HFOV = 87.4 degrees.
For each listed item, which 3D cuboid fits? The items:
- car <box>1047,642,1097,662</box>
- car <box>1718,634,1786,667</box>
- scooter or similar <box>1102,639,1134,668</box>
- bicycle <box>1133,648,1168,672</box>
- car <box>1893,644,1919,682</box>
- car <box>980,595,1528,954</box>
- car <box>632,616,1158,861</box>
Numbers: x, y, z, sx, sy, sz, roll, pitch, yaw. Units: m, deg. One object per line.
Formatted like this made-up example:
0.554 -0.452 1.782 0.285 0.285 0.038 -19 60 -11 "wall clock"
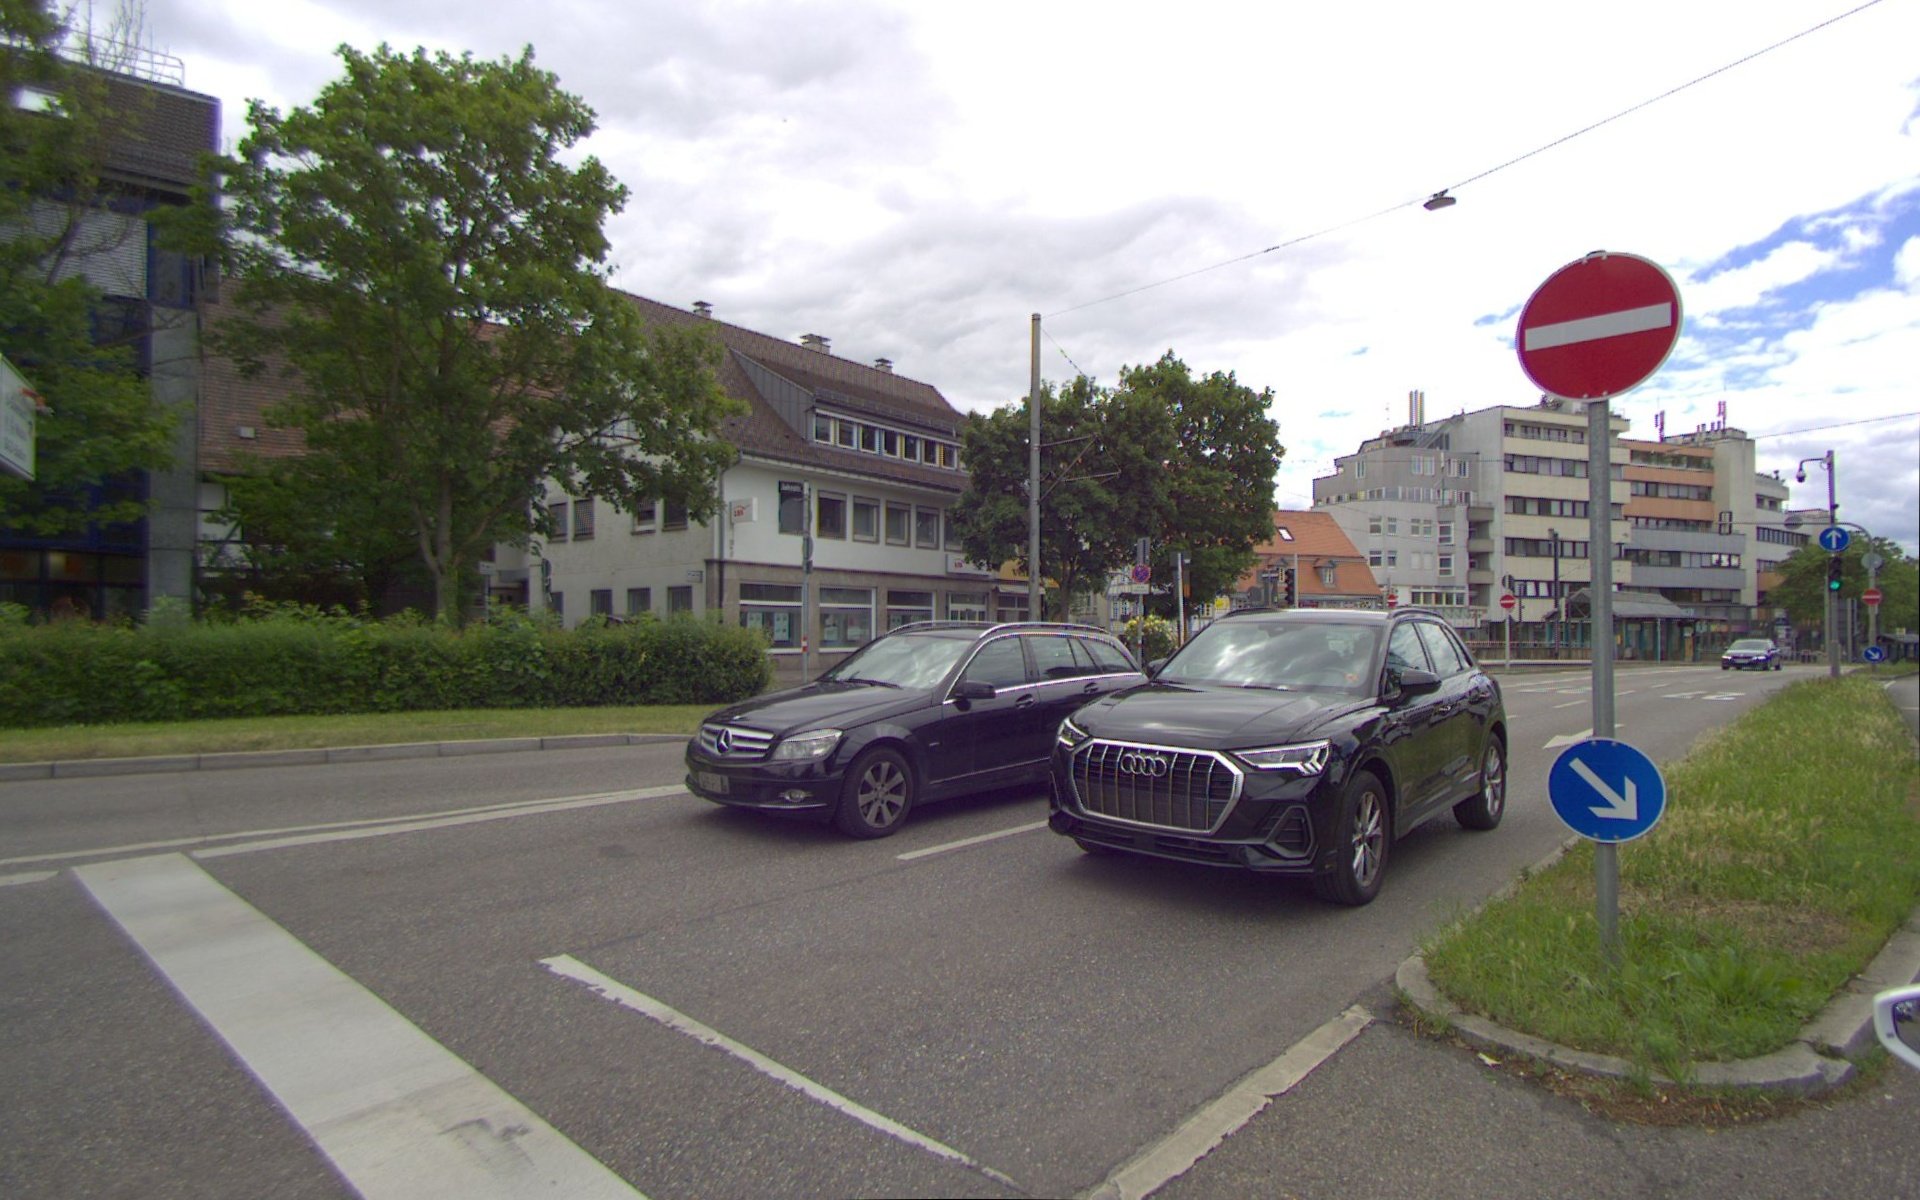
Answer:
7.573 3.537 68.294 1.955 1.312 3.897 1 -2 -17 "car"
37.532 2.374 47.567 4.578 1.474 1.782 2 -2 -42 "car"
6.001 2.019 38.141 1.165 1.100 0.597 2 -2 -37 "scooter or similar"
6.808 2.140 35.925 0.421 0.815 1.246 2 -2 -43 "bicycle"
39.977 2.595 41.628 1.853 1.437 4.415 1 0 44 "car"
2.248 0.785 6.729 1.867 1.585 4.373 1 0 41 "car"
-0.282 0.879 8.356 1.764 1.445 4.370 1 0 43 "car"
